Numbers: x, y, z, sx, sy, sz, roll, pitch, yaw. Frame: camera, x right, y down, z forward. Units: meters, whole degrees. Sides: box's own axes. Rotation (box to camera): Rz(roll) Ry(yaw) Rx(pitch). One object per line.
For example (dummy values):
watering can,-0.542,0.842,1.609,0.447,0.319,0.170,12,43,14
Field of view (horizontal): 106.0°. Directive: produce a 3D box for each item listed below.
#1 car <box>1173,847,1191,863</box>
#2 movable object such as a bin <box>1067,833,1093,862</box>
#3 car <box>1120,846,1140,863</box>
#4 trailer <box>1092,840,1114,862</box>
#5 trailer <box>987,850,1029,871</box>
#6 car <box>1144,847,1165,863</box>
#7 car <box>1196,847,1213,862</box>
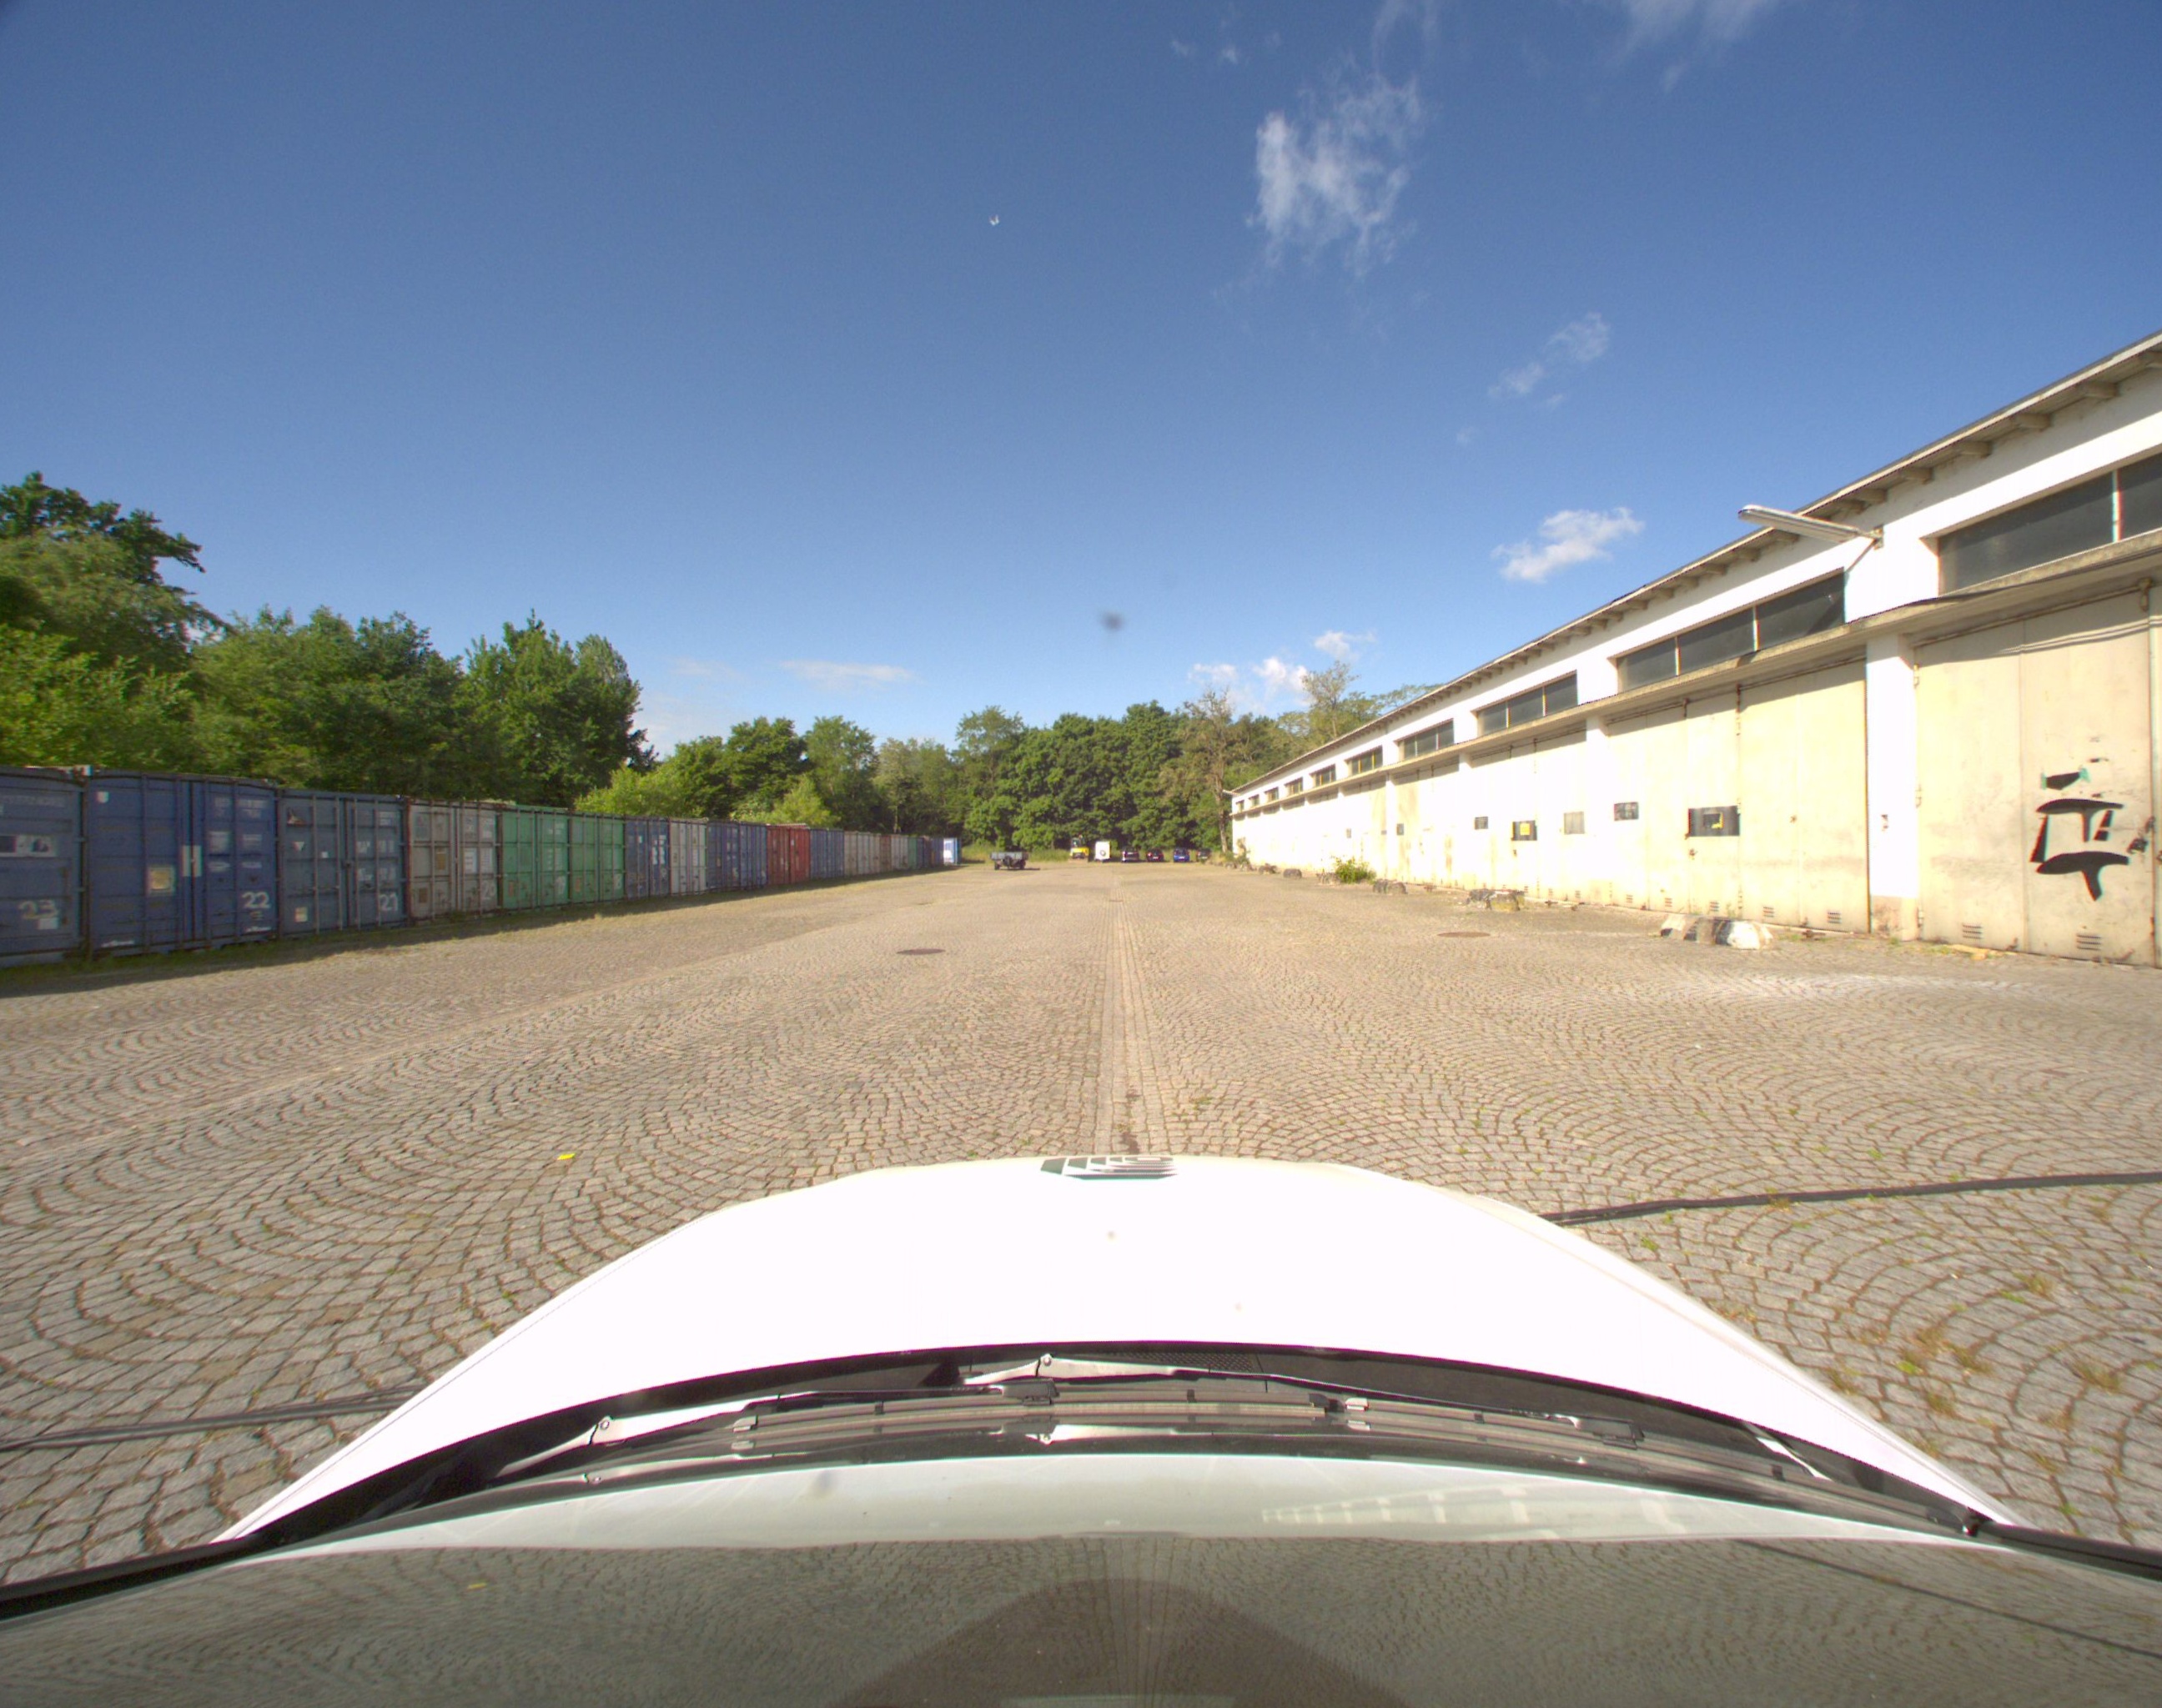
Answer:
car,10.138,0.060,81.900,1.735,1.436,4.192,1,2,7
movable object such as a bin,-0.068,-0.699,84.843,2.297,2.896,5.756,1,1,3
car,4.888,-0.012,81.735,1.856,1.589,4.298,0,2,2
trailer,2.284,-0.331,84.186,2.185,2.094,5.754,0,2,2
trailer,-5.685,0.444,64.296,2.696,1.465,6.248,0,1,1
car,7.383,0.048,82.036,1.856,1.470,4.298,0,2,2
car,12.636,0.054,83.243,1.734,1.436,4.194,1,2,9
